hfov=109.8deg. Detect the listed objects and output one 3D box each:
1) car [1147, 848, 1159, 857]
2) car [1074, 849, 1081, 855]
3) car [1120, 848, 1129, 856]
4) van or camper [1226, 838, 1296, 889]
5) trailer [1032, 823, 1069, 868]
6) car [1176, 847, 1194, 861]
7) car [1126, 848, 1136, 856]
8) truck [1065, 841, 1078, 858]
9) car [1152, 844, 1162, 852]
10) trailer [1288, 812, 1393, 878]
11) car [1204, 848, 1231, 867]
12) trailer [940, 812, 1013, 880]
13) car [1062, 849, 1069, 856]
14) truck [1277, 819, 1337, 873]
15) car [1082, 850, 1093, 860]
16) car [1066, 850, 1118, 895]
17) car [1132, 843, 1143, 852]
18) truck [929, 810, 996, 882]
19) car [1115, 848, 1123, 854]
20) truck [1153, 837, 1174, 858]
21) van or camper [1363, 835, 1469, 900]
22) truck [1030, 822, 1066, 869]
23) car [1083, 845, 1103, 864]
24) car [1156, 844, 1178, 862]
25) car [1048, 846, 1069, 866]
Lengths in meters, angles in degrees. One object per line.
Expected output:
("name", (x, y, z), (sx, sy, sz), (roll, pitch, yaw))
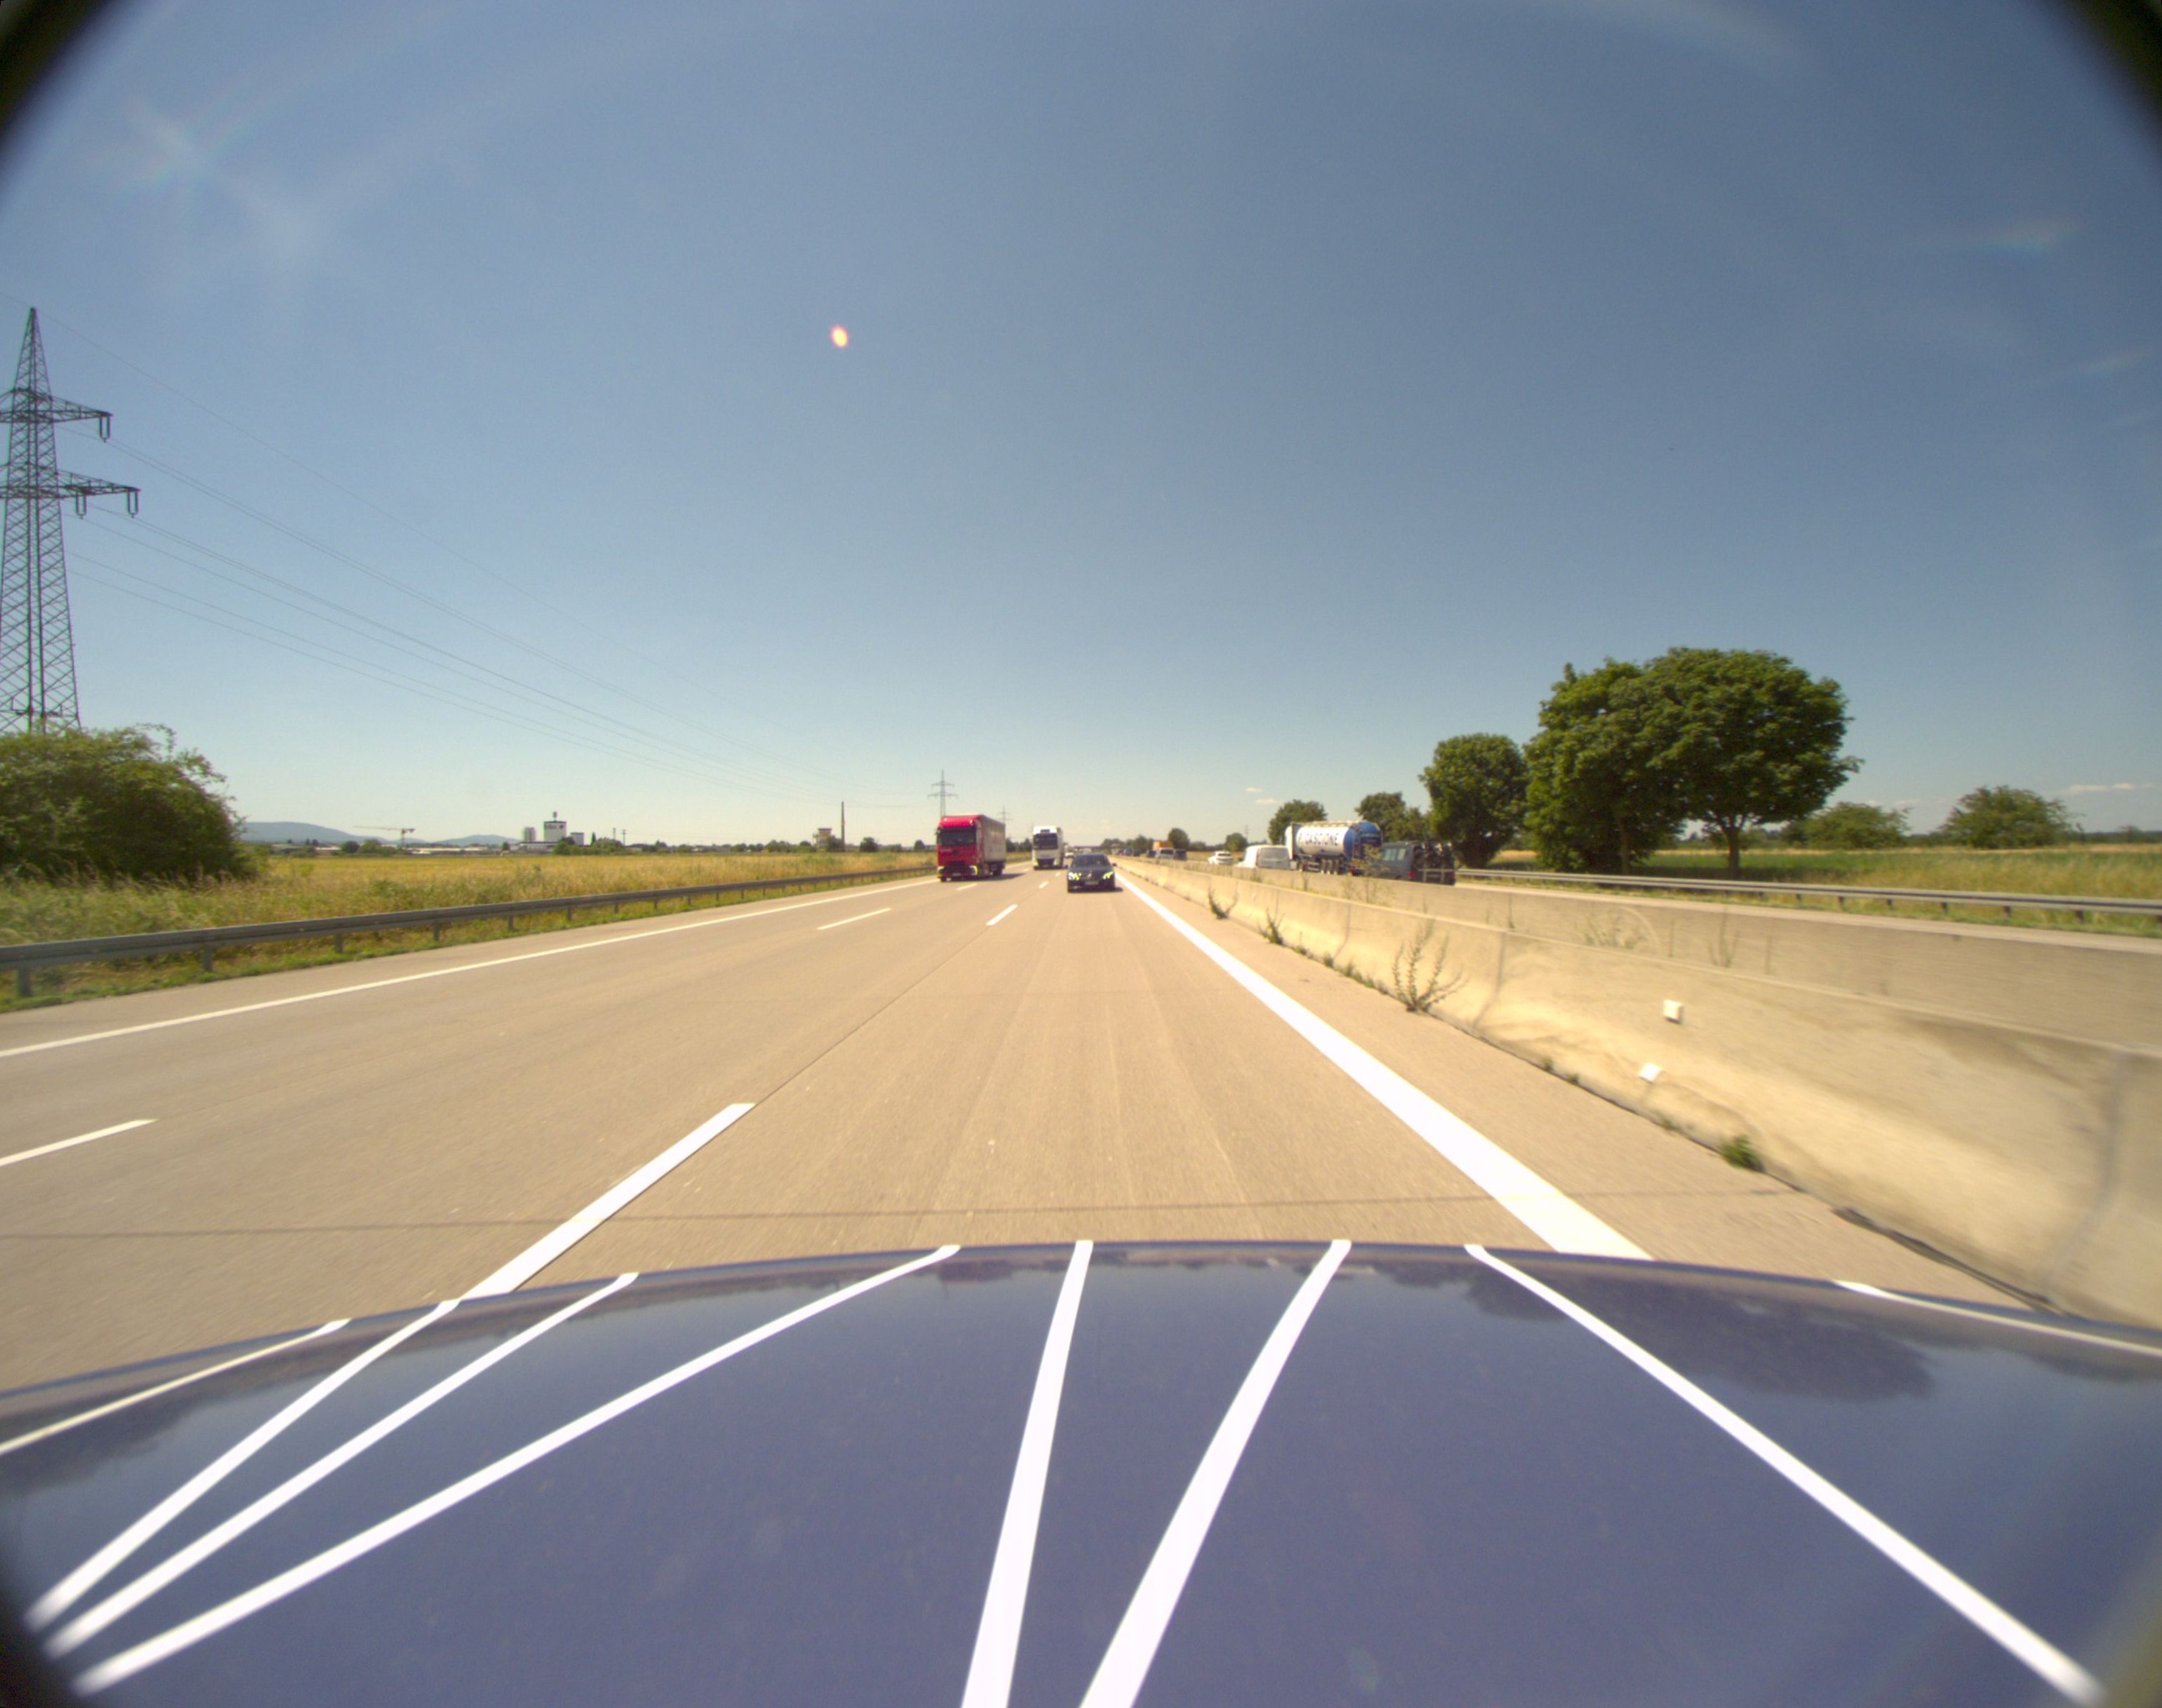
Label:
("car", (14.334, -0.279, 150.772), (1.998, 1.781, 4.300), (-2, 1, 1))
("car", (-0.942, -0.520, 223.104), (1.998, 1.781, 4.300), (-2, 1, 1))
("car", (10.754, -0.564, 187.849), (1.998, 1.781, 4.300), (-2, 1, 1))
("van or camper", (8.952, 0.385, 38.358), (1.998, 2.284, 6.469), (-2, 1, 1))
("trailer", (-2.992, -0.828, 77.401), (2.960, 4.122, 12.024), (-2, 1, 1))
("car", (14.529, -0.045, 106.064), (1.998, 1.893, 3.999), (-2, 1, 1))
("car", (11.265, -0.403, 171.924), (1.998, 1.781, 4.300), (-2, 1, 1))
("truck", (-2.405, -1.205, 198.054), (2.960, 4.122, 10.016), (-2, 1, 1))
("car", (18.067, -1.388, 180.367), (1.998, 1.781, 4.300), (-2, 1, 1))
("trailer", (17.314, -0.596, 52.042), (2.684, 3.946, 13.004), (0, 1, 0))
("car", (13.794, 0.376, 77.107), (1.998, 1.781, 4.300), (-2, 1, 1))
("trailer", (-7.126, -0.577, 54.230), (2.960, 4.122, 13.808), (-2, 1, 1))
("car", (-4.582, -0.387, 223.654), (1.998, 1.781, 4.300), (-2, 1, 1))
("truck", (17.323, -0.623, 58.794), (2.663, 3.946, 6.619), (0, 1, 0))
("car", (1.286, 0.188, 153.298), (1.998, 1.781, 4.300), (-2, 1, 1))
("car", (0.433, 0.663, 30.004), (1.848, 1.576, 3.939), (-2, 1, 1))
("car", (19.880, -2.195, 266.740), (3.421, 2.865, 6.191), (-2, 1, 1))
("truck", (-7.264, -0.495, 47.449), (2.959, 4.122, 6.151), (-2, 1, 1))
("car", (10.891, -0.929, 219.553), (1.998, 1.781, 4.300), (-2, 1, 1))
("truck", (18.494, -1.377, 170.817), (3.421, 4.469, 9.999), (-2, 1, 1))
("van or camper", (12.694, 0.449, 29.173), (1.942, 2.207, 4.796), (-2, 1, 1))
("truck", (-3.034, -0.783, 71.940), (2.960, 4.122, 6.151), (-2, 1, 1))
("car", (1.291, 0.012, 82.328), (1.998, 2.002, 3.999), (-2, 1, 1))
("car", (9.561, -0.163, 85.002), (1.998, 1.893, 3.999), (-2, 1, 1))
("car", (-2.446, 0.157, 82.070), (1.998, 2.002, 3.999), (-2, 1, 1))
